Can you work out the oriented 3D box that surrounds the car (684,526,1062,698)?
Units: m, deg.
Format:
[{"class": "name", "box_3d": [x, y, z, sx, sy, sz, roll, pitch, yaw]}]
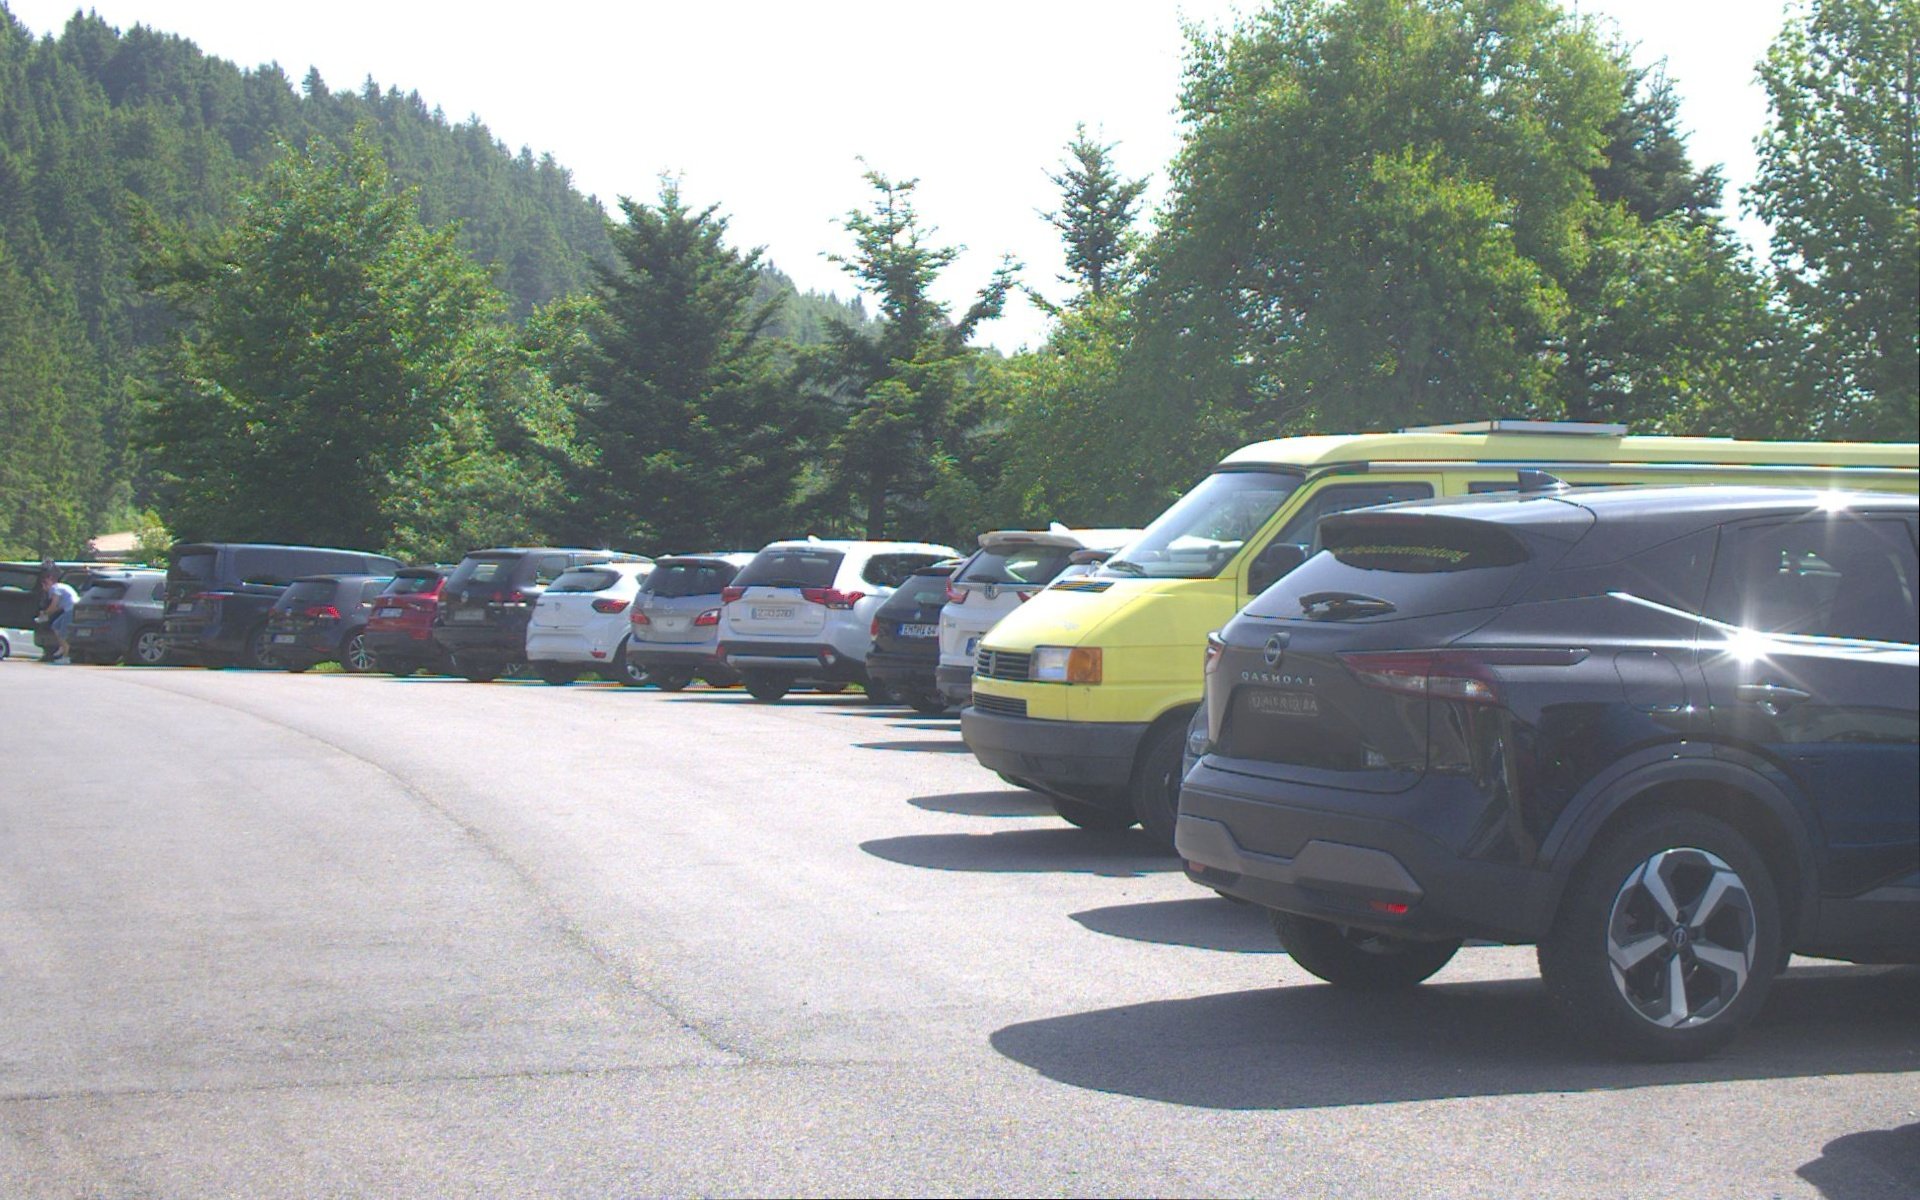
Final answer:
[{"class": "car", "box_3d": [-0.851, 0.126, 36.380, 1.861, 1.689, 4.218, 1, 0, 34]}]

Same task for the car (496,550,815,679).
[{"class": "car", "box_3d": [-3.711, 0.205, 42.508, 1.765, 1.471, 3.992, 2, -1, 34]}]

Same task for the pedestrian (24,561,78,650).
[{"class": "pedestrian", "box_3d": [-14.754, 0.080, 55.796, 0.773, 1.398, 0.669, -2, 2, -12]}]

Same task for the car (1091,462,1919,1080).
[{"class": "car", "box_3d": [2.629, 0.435, 10.612, 3.986, 1.608, 1.917, 0, 1, -24]}]

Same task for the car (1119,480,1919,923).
[{"class": "car", "box_3d": [2.885, 0.366, 13.652, 4.149, 1.583, 1.705, 1, 1, -15]}]

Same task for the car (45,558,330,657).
[{"class": "car", "box_3d": [-12.302, 0.129, 54.868, 3.988, 1.438, 1.839, 2, -1, -40]}]

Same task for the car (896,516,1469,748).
[{"class": "car", "box_3d": [1.765, 0.271, 26.511, 4.172, 1.644, 1.891, 2, -1, -38]}]

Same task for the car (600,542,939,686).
[{"class": "car", "box_3d": [-2.135, 0.185, 39.629, 1.818, 1.544, 3.992, 2, -1, 34]}]

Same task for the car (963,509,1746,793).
[{"class": "car", "box_3d": [2.388, 0.245, 20.841, 4.349, 1.482, 1.813, -2, 2, -21]}]

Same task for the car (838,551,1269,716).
[{"class": "car", "box_3d": [0.951, 0.340, 32.965, 1.893, 1.456, 4.041, 1, -1, 43]}]

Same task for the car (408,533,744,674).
[{"class": "car", "box_3d": [-4.904, 0.069, 44.434, 1.988, 1.689, 4.265, 2, -1, 34]}]

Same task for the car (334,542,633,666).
[{"class": "car", "box_3d": [-6.531, 0.081, 47.516, 1.861, 1.584, 3.992, 2, -1, 34]}]

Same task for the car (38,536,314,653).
[{"class": "car", "box_3d": [-13.132, -0.078, 57.747, 1.999, 1.656, 3.989, 1, -3, 44]}]

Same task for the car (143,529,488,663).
[{"class": "car", "box_3d": [-9.818, -0.045, 52.533, 4.758, 1.873, 1.966, 2, -1, -37]}]

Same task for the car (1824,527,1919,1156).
[{"class": "car", "box_3d": [4.134, 0.637, 8.304, 3.580, 1.490, 1.648, 2, 1, -17]}]

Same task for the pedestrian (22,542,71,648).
[{"class": "pedestrian", "box_3d": [-15.380, -0.081, 57.882, 0.579, 1.755, 0.633, 2, -1, 1]}]

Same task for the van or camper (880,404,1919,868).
[{"class": "van or camper", "box_3d": [2.349, 0.192, 16.820, 5.088, 2.007, 1.883, 2, 1, -17]}]

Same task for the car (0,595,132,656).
[{"class": "car", "box_3d": [-22.962, 0.585, 85.093, 4.453, 1.294, 1.582, 5, -2, -35]}]

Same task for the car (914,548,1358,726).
[{"class": "car", "box_3d": [1.598, 0.341, 30.438, 3.795, 1.454, 1.662, 2, 0, -41]}]

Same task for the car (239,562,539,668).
[{"class": "car", "box_3d": [-8.221, 0.230, 49.732, 1.743, 1.410, 3.989, 1, -1, 44]}]

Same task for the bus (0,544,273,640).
[{"class": "bus", "box_3d": [-33.236, -0.323, 132.734, 12.859, 3.566, 2.982, 0, 2, -2]}]
